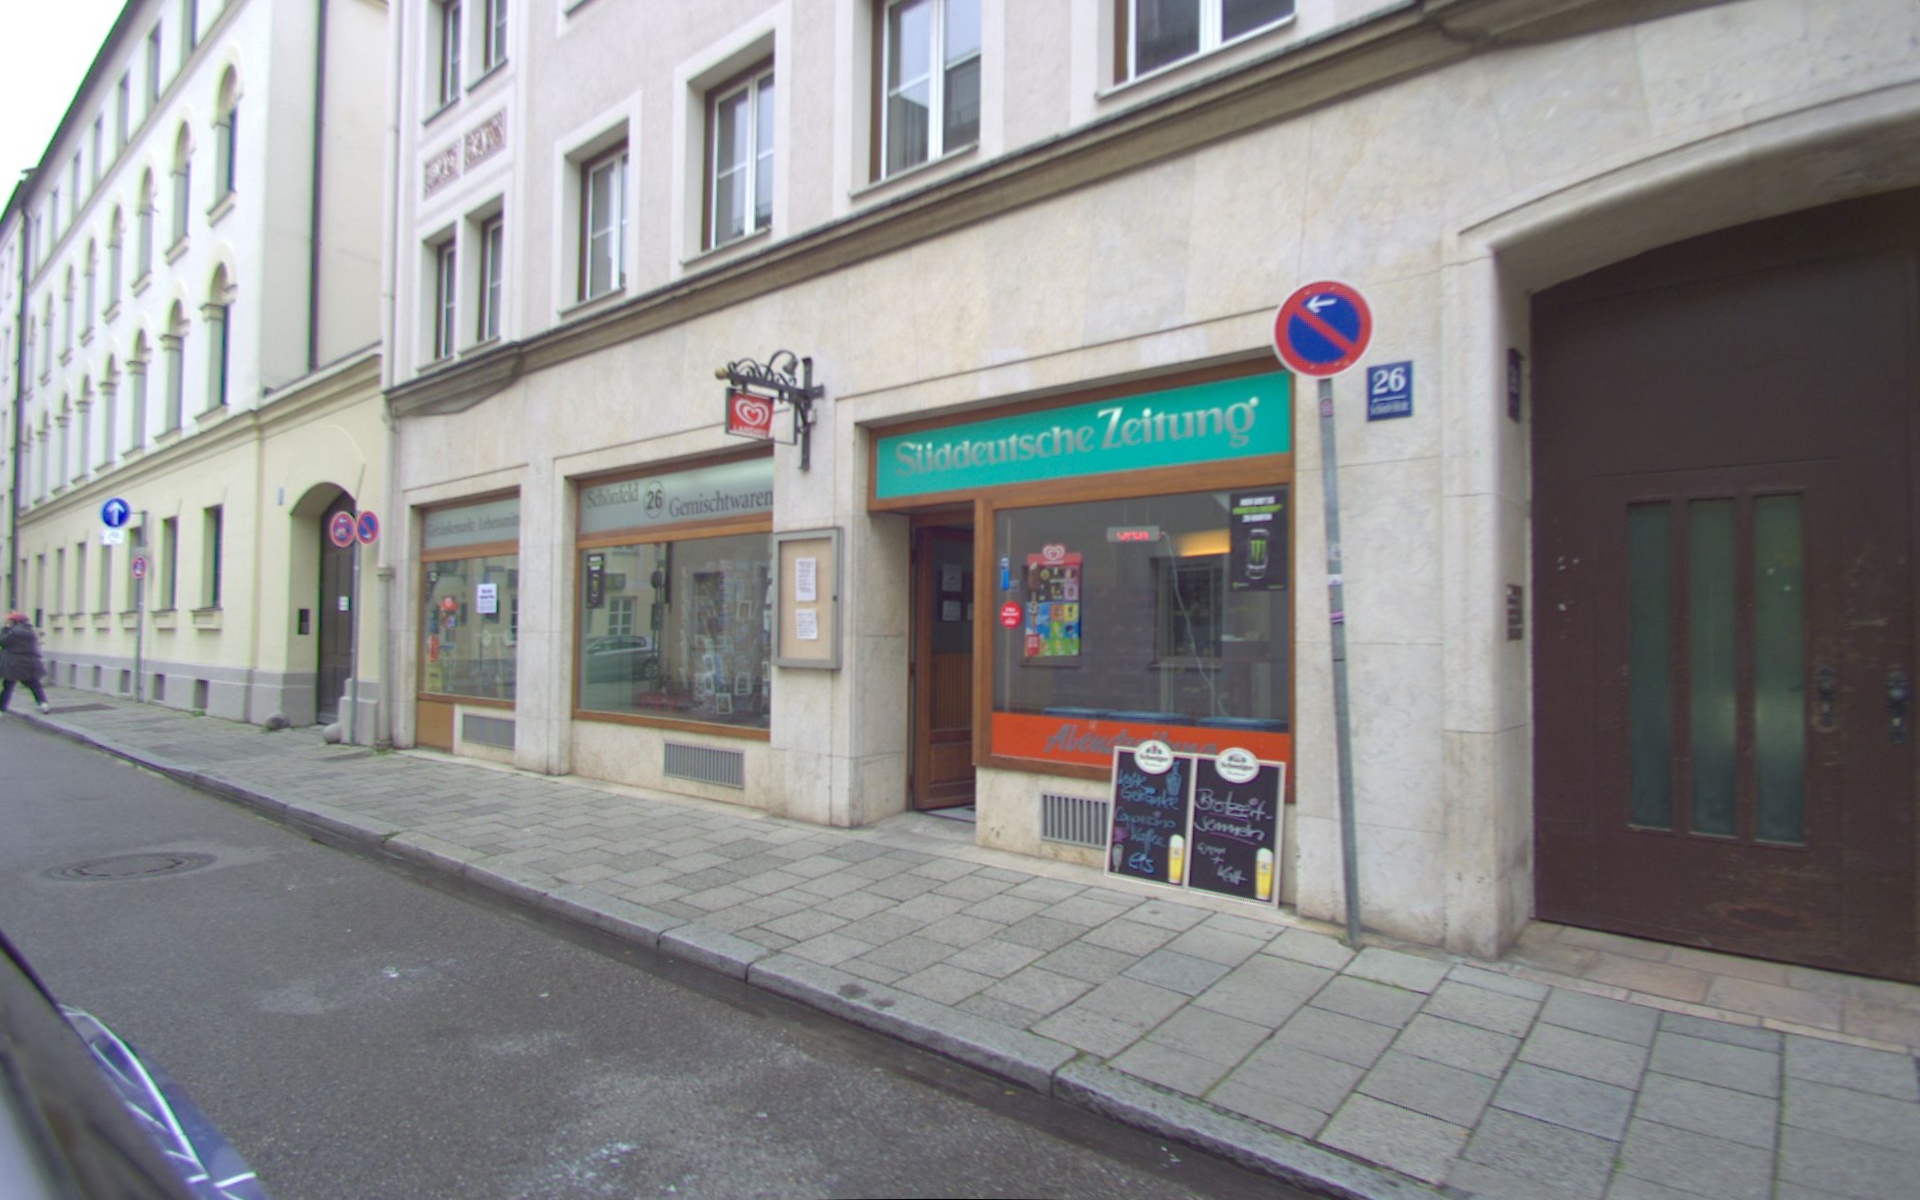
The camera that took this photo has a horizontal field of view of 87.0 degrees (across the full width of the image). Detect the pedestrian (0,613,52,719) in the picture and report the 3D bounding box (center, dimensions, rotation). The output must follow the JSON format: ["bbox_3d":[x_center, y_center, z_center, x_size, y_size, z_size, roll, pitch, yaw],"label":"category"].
[{"bbox_3d":[-16.293,1.131,17.440,0.988,1.769,0.801,-4,-3,38],"label":"pedestrian"}]

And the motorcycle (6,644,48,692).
[{"bbox_3d":[-23.741,1.712,25.744,1.707,1.183,0.596,-2,-3,41],"label":"motorcycle"}]
